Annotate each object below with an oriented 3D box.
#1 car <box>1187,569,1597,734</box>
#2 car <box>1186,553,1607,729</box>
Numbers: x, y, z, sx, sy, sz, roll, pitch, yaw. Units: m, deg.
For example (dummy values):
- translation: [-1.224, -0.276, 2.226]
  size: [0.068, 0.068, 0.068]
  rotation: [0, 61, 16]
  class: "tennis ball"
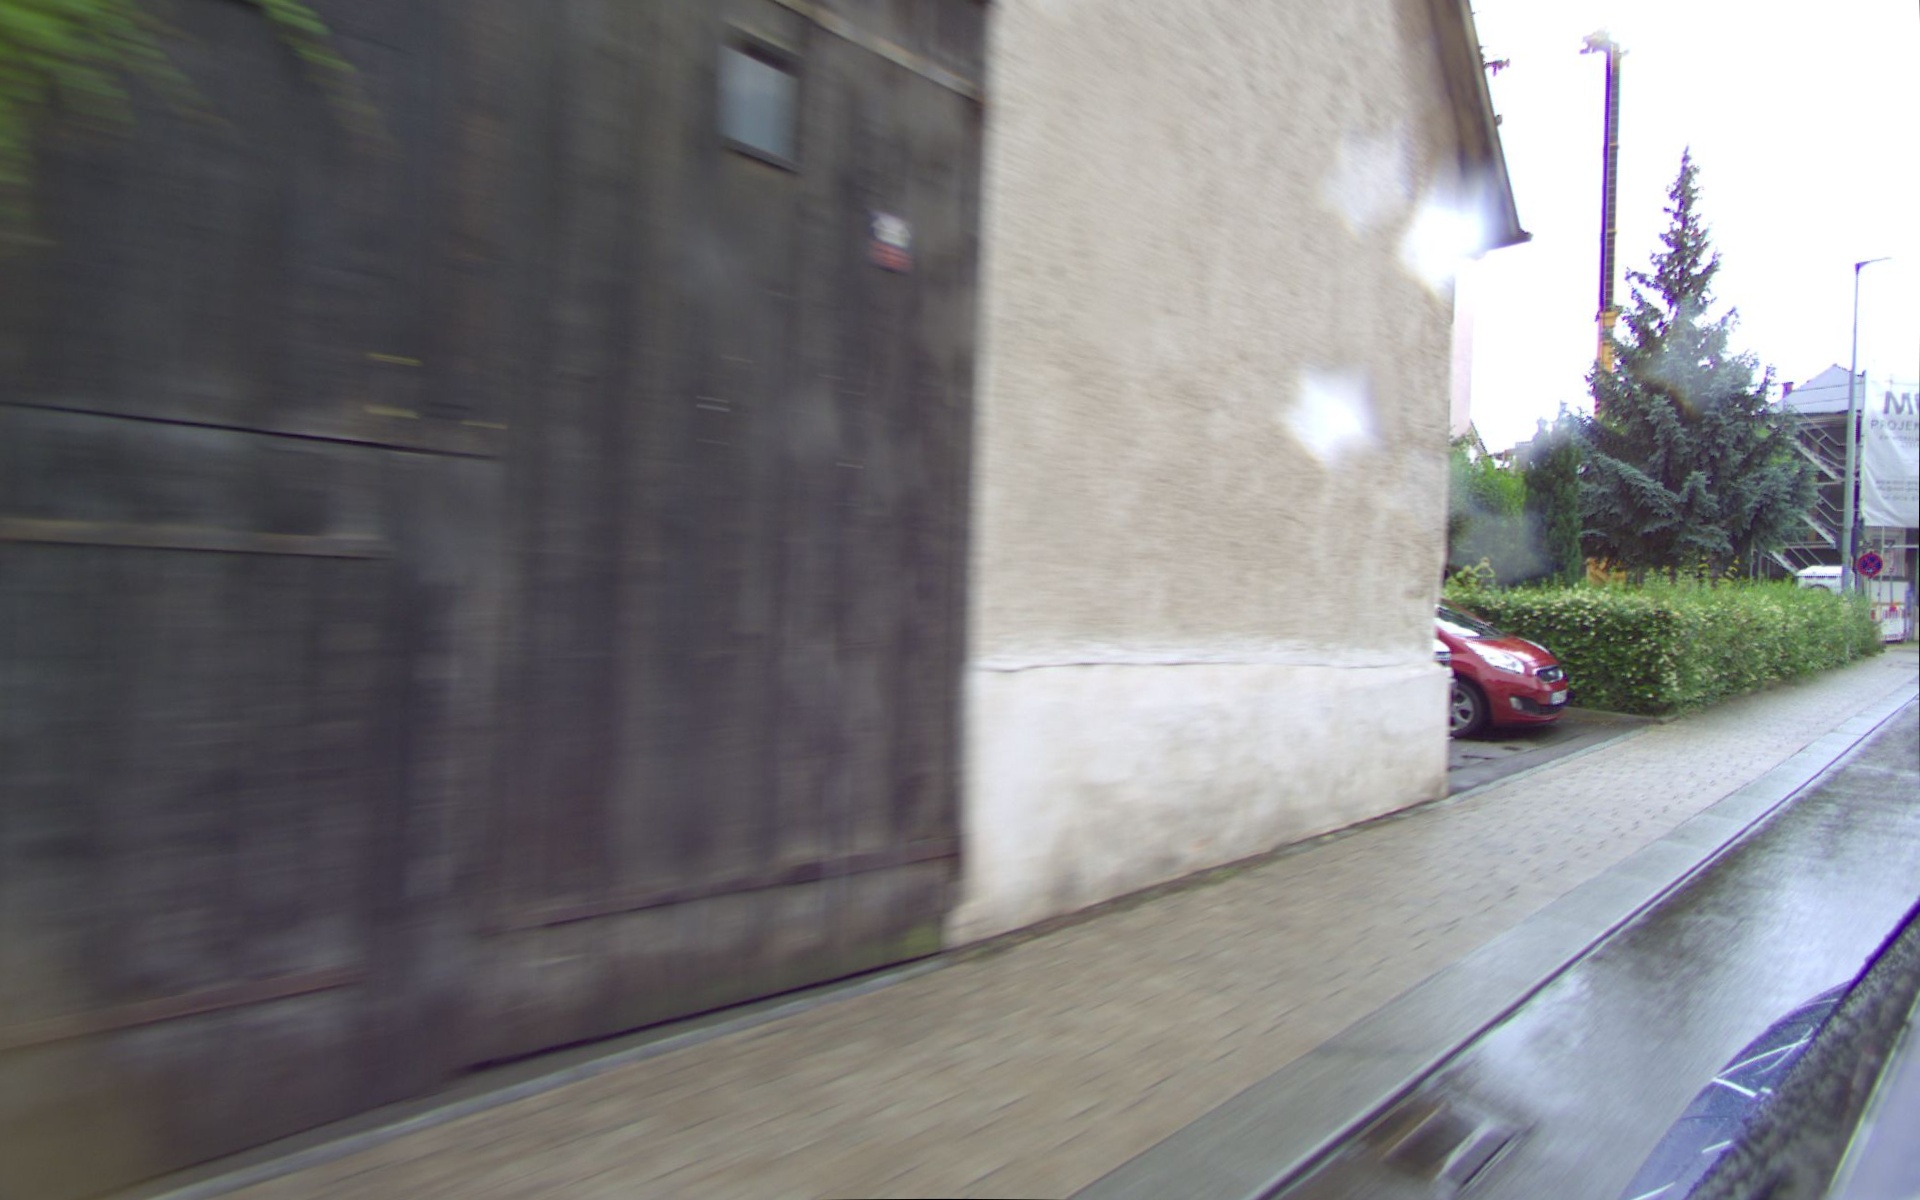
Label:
- translation: [4.956, 0.463, 12.044]
  size: [1.766, 1.587, 4.115]
  rotation: [0, 1, -43]
  class: "car"
- translation: [5.027, 0.335, 12.161]
  size: [1.869, 1.669, 4.228]
  rotation: [1, 2, -39]
  class: "car"
